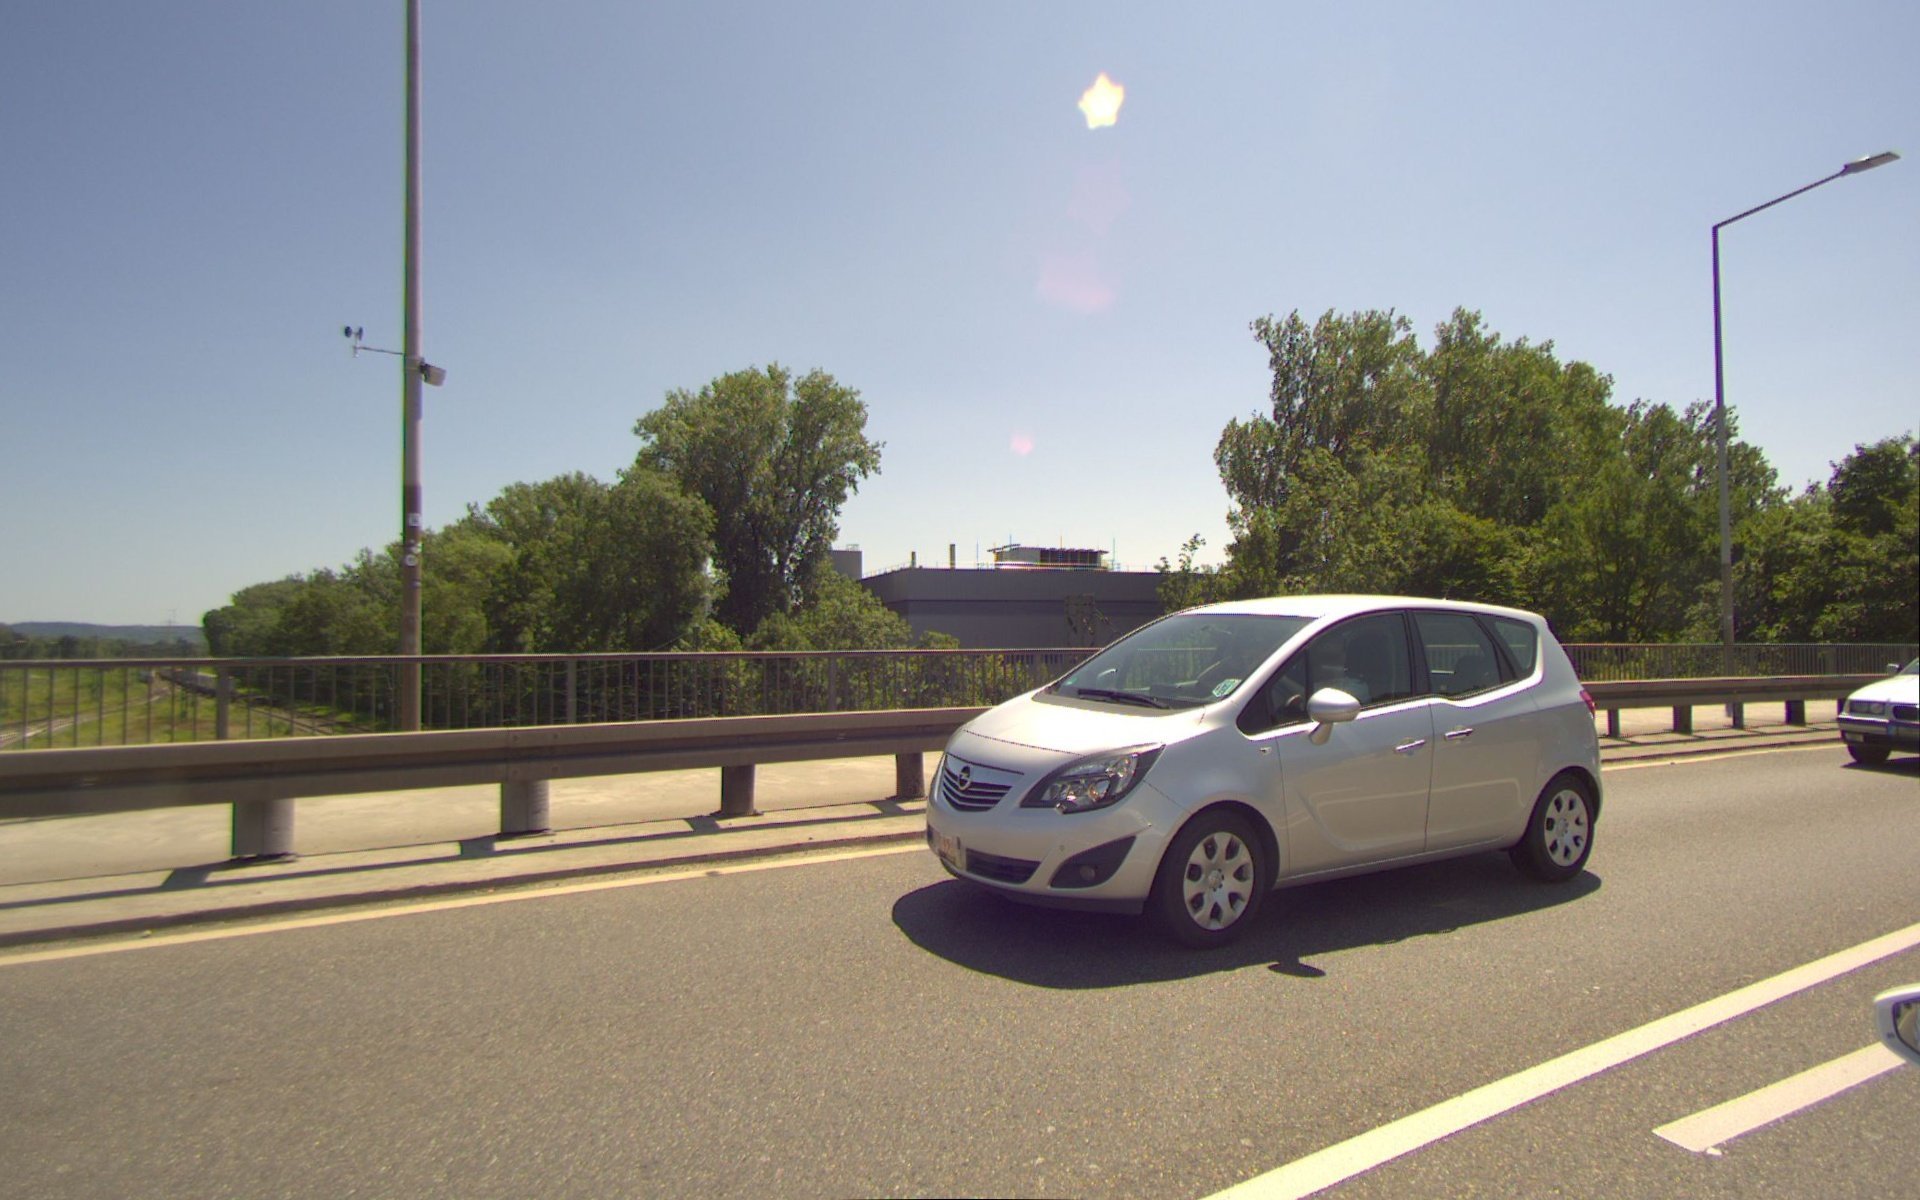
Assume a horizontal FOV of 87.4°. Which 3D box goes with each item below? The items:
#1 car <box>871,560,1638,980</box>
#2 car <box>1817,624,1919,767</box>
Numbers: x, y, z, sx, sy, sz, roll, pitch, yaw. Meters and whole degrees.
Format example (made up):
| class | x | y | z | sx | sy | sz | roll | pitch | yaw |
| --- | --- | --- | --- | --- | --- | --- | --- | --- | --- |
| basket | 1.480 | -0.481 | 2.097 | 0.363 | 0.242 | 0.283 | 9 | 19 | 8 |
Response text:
| class | x | y | z | sx | sy | sz | roll | pitch | yaw |
| --- | --- | --- | --- | --- | --- | --- | --- | --- | --- |
| car | 1.744 | 0.694 | 5.609 | 4.126 | 1.601 | 1.729 | 1 | -1 | -29 |
| car | 11.191 | 0.980 | 10.698 | 3.946 | 1.394 | 1.692 | 1 | -1 | -25 |
